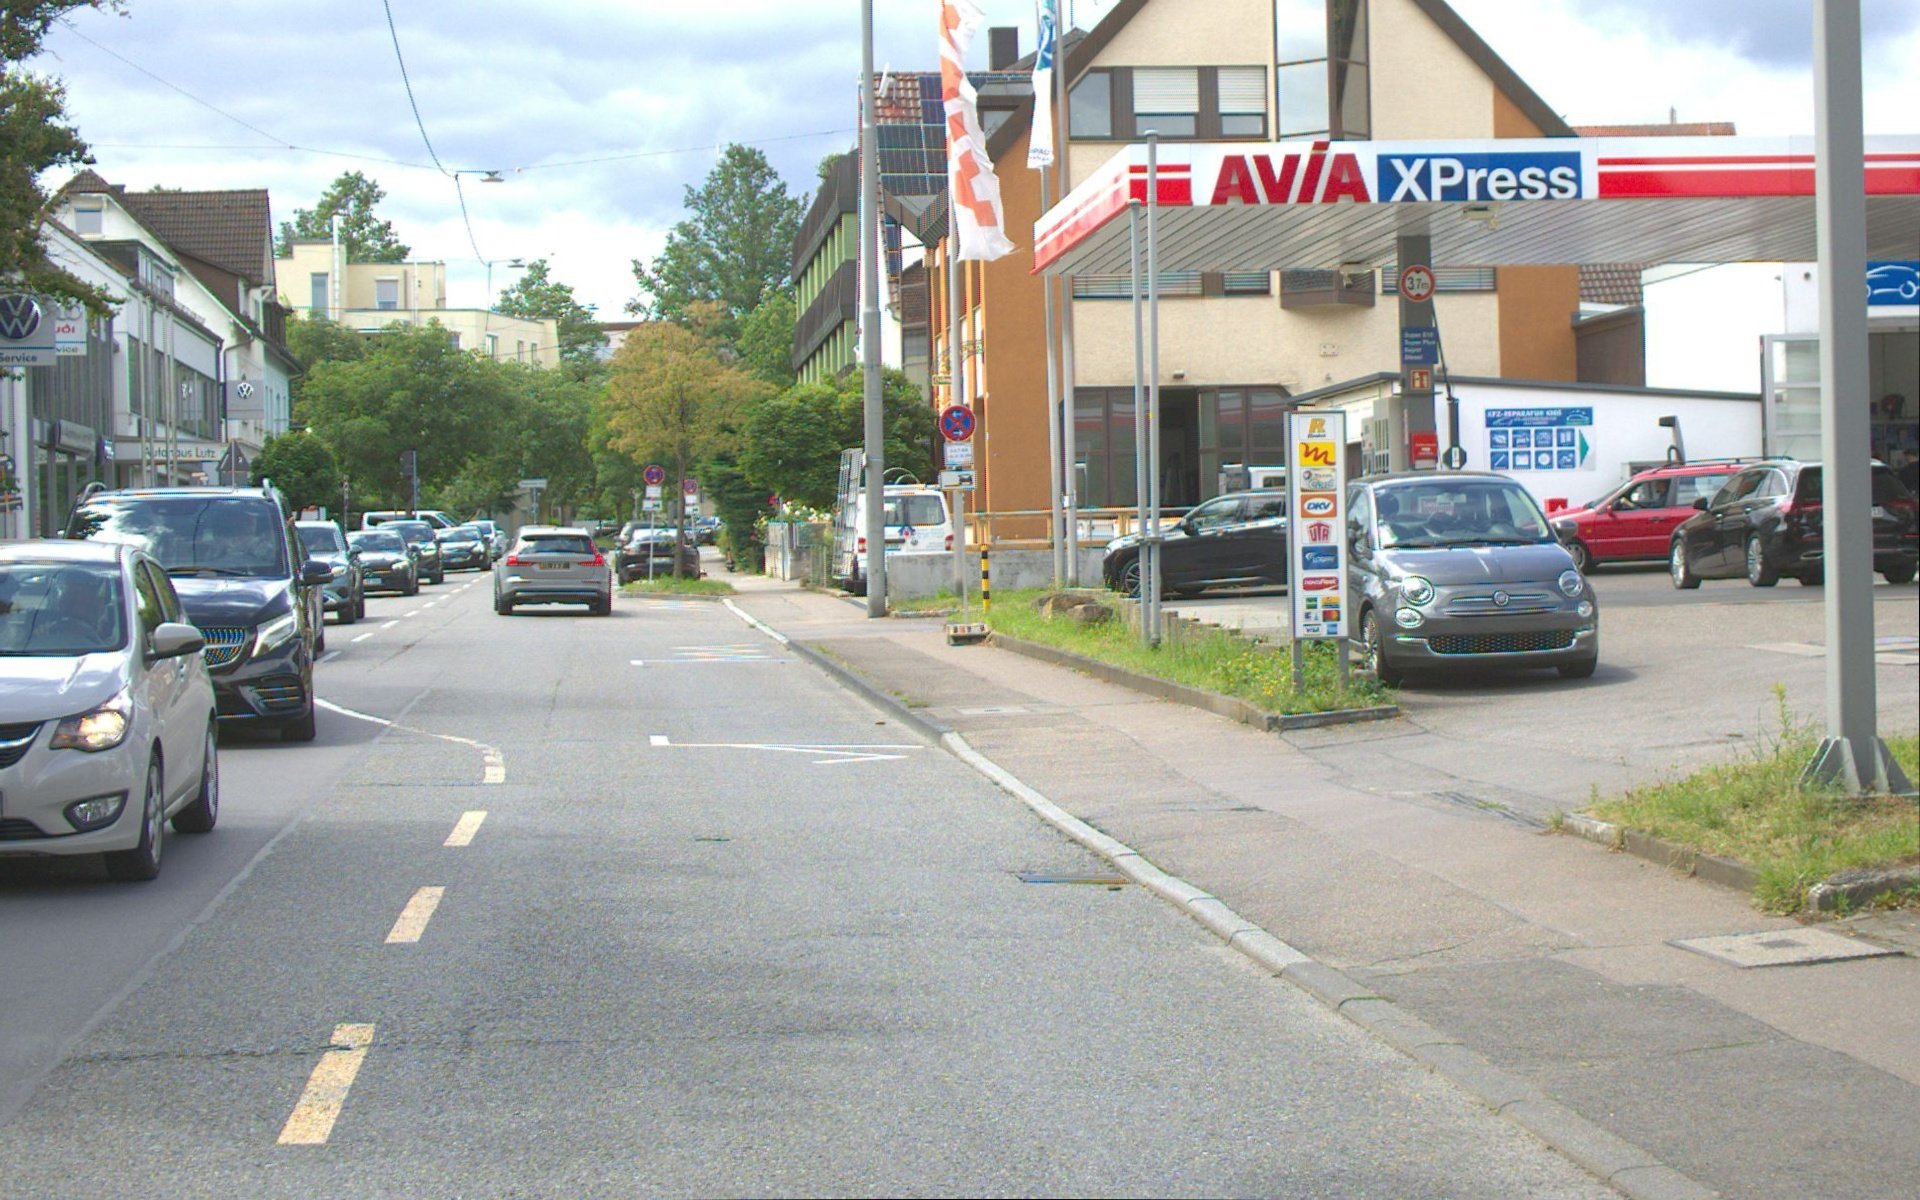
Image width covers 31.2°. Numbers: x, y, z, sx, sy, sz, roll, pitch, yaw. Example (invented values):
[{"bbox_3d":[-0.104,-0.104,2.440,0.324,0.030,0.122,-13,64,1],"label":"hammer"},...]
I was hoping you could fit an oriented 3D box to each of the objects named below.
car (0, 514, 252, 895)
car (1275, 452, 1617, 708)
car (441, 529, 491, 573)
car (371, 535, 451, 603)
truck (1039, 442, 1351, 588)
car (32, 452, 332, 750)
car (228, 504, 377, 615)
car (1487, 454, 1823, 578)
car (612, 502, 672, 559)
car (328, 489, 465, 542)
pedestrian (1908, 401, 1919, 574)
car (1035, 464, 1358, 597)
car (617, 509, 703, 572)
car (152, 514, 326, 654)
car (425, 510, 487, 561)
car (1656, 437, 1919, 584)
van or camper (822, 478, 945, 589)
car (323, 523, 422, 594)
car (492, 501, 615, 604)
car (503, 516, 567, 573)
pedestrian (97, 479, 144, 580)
[{"bbox_3d":[-4.262,0.406,15.550,1.614,1.518,3.570,-1,1,-5],"label":"car"},{"bbox_3d":[3.566,-0.190,25.943,1.615,1.590,4.160,-7,2,-3],"label":"car"},{"bbox_3d":[-18.077,-1.791,125.872,1.689,1.574,3.801,-1,1,-7],"label":"car"},{"bbox_3d":[-14.151,-0.817,88.734,1.831,1.624,4.322,-1,2,-7],"label":"car"},{"bbox_3d":[4.067,-1.515,60.052,5.086,2.449,2.358,-1,3,-6],"label":"truck"},{"bbox_3d":[-5.742,-0.072,25.484,1.908,1.945,4.915,-2,2,-12],"label":"car"},{"bbox_3d":[-10.565,-0.686,55.536,1.865,1.612,4.536,-2,2,-5],"label":"car"},{"bbox_3d":[9.896,-1.174,48.902,4.596,1.711,1.824,0,1,14],"label":"car"},{"bbox_3d":[-9.583,-2.085,103.848,1.689,1.661,4.463,-1,1,-4],"label":"car"},{"bbox_3d":[-23.933,-3.584,146.061,5.215,1.986,2.107,-3,2,12],"label":"car"},{"bbox_3d":[11.011,-1.259,38.599,0.586,1.929,0.539,0,0,31],"label":"pedestrian"},{"bbox_3d":[3.424,-1.005,49.960,4.312,1.625,1.633,-3,2,30],"label":"car"},{"bbox_3d":[-7.397,-1.452,84.453,1.984,1.443,4.753,-1,1,-6],"label":"car"},{"bbox_3d":[-8.600,-0.235,40.774,1.865,1.522,4.529,-2,2,-13],"label":"car"},{"bbox_3d":[-15.748,-2.006,107.301,1.831,1.518,4.172,-1,1,-9],"label":"car"},{"bbox_3d":[9.569,-0.998,40.050,1.630,1.603,4.572,-1,0,-5],"label":"car"},{"bbox_3d":[-1.491,-1.239,64.973,1.866,2.025,4.548,0,1,-7],"label":"van or camper"},{"bbox_3d":[-12.745,-0.925,74.770,1.740,1.424,4.525,-2,2,-6],"label":"car"},{"bbox_3d":[-6.940,-0.777,58.394,1.955,1.518,4.329,0,-2,-8],"label":"car"},{"bbox_3d":[-11.745,-1.521,94.871,1.614,1.518,3.570,-1,1,-9],"label":"car"},{"bbox_3d":[-14.548,-1.221,59.599,0.682,1.731,0.868,0,0,-7],"label":"pedestrian"}]
